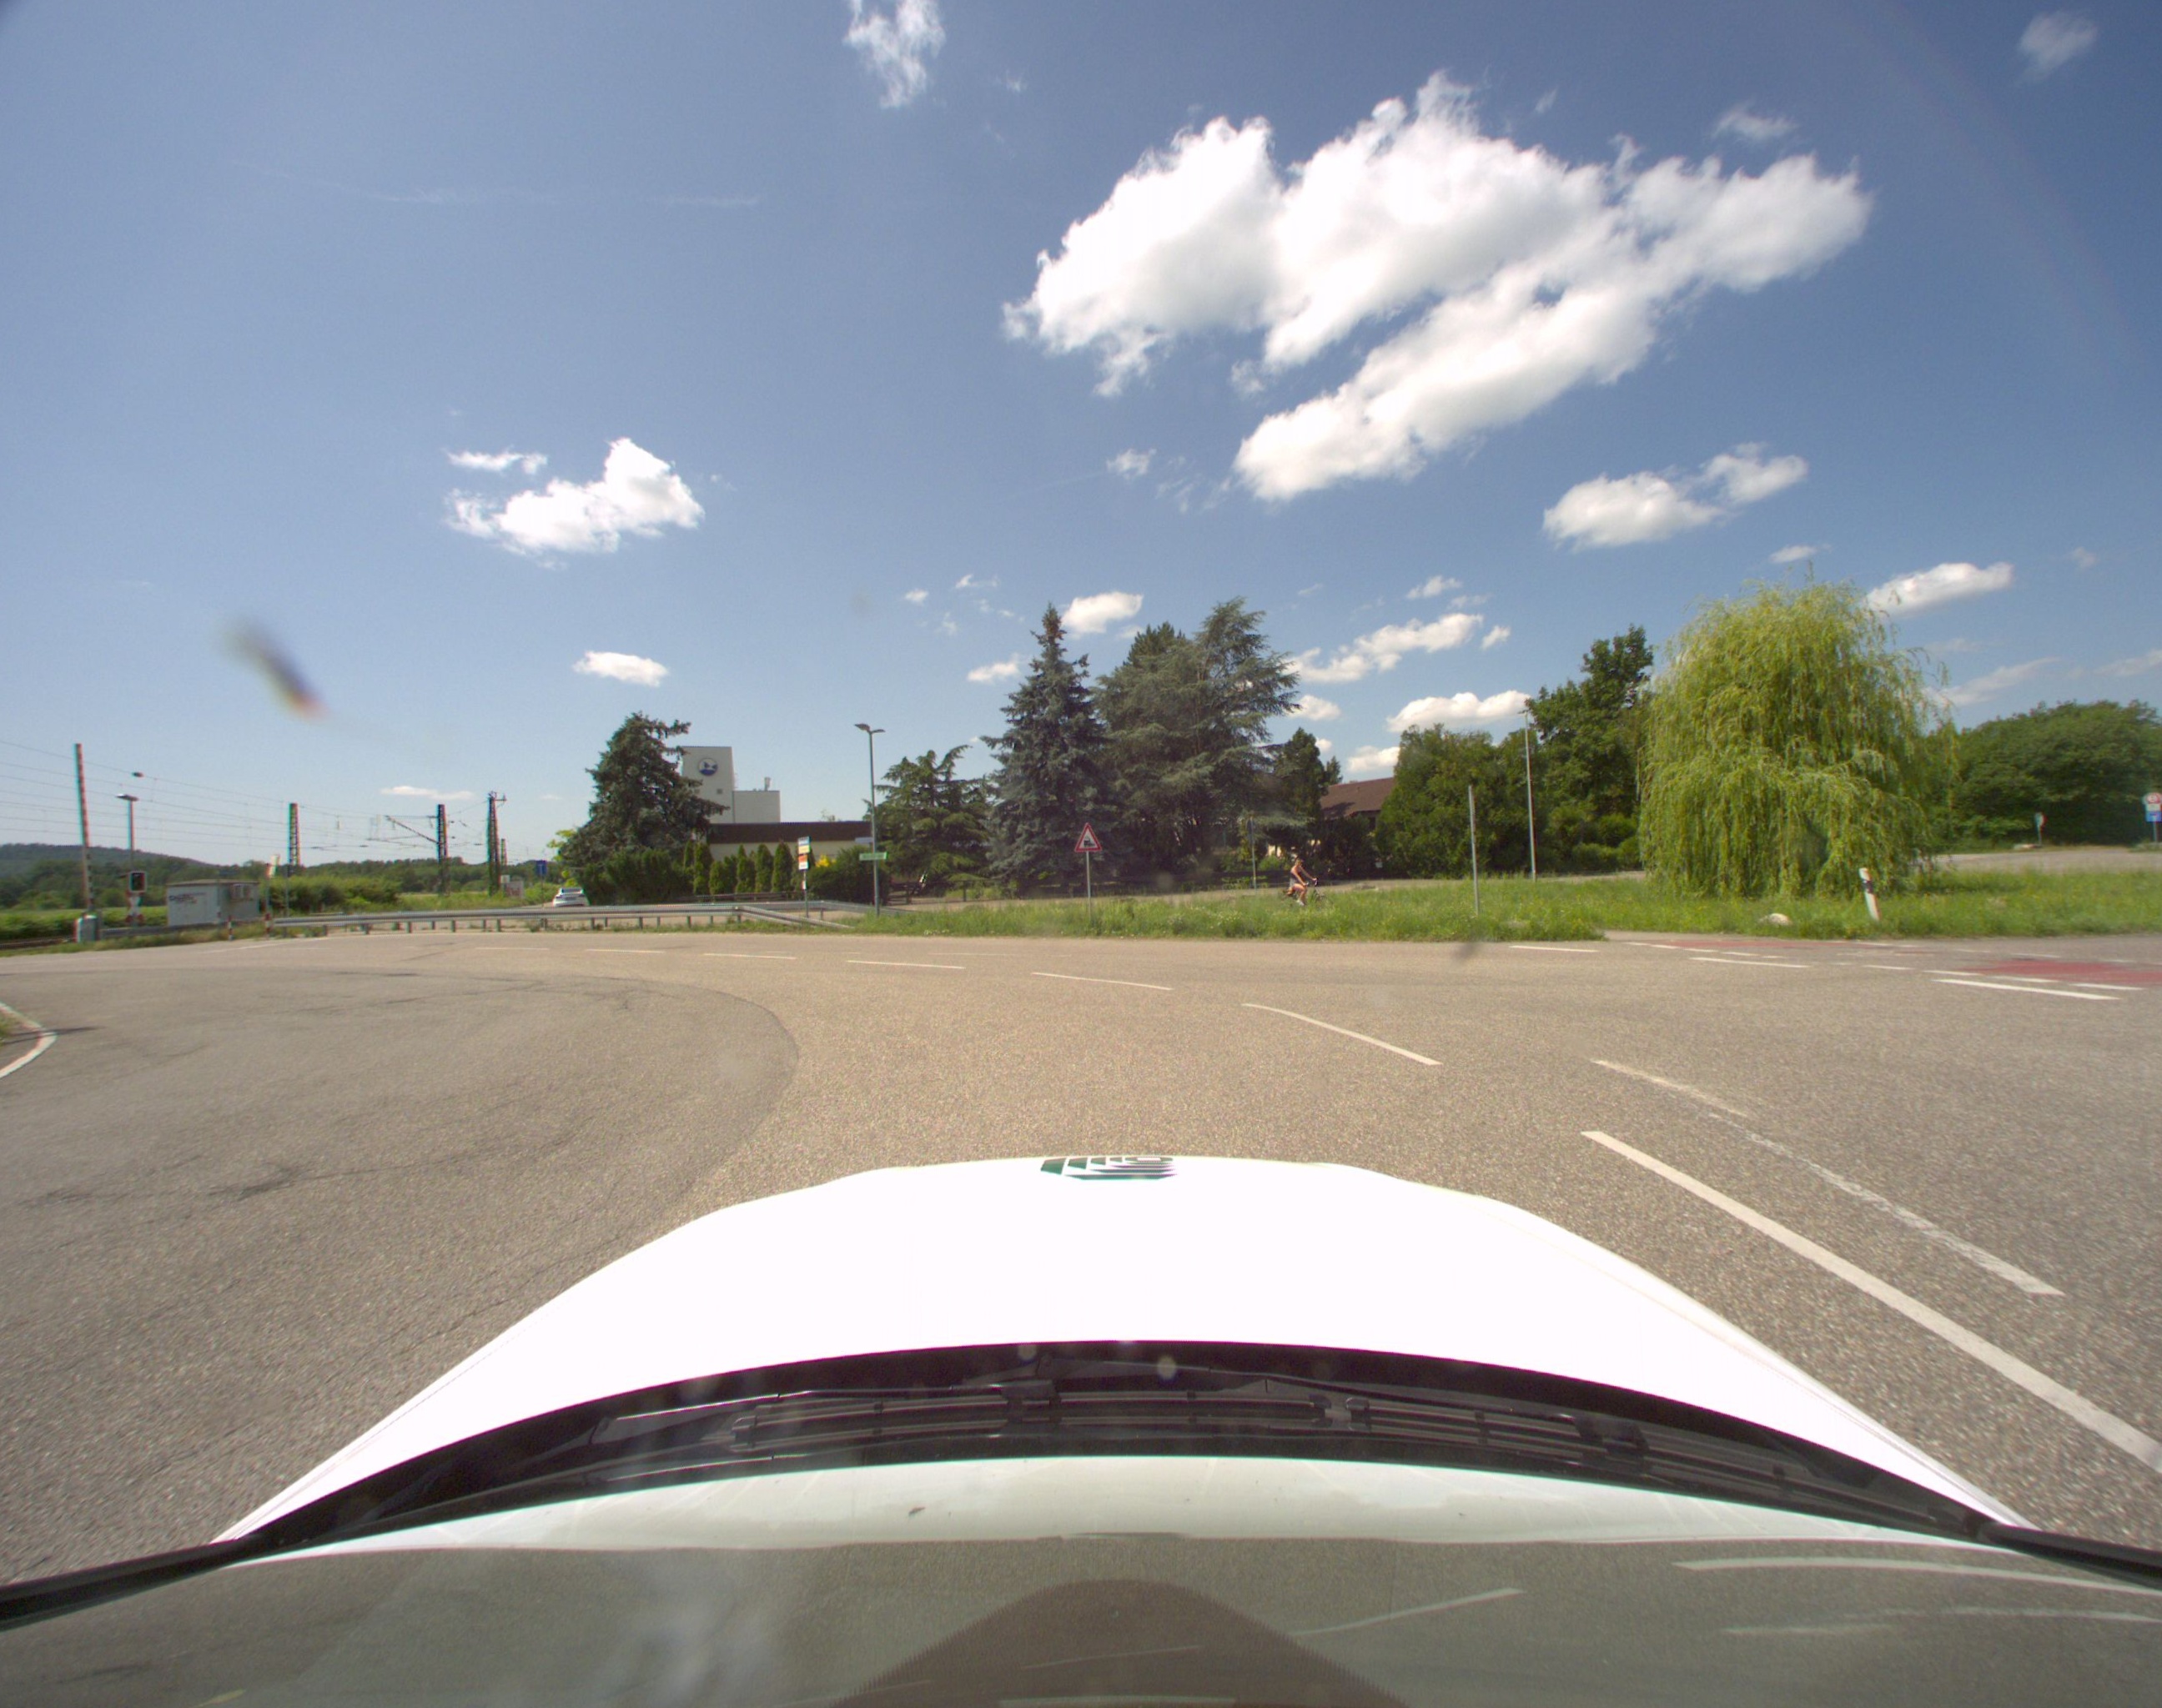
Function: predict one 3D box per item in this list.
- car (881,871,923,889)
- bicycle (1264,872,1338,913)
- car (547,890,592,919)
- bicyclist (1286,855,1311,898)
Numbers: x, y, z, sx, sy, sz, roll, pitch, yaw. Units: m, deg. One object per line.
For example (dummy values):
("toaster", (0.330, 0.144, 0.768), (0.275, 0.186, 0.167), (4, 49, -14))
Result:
("car", (-16.771, 2.430, 76.367), (3.543, 1.585, 1.552), (-2, -1, -26))
("bicycle", (6.606, 1.157, 24.559), (0.665, 1.165, 2.121), (-2, -1, -40))
("car", (-31.573, 3.098, 50.390), (2.005, 1.510, 4.413), (-2, 0, -28))
("bicyclist", (6.563, 0.678, 24.628), (0.472, 1.255, 0.505), (-1, -1, -40))
